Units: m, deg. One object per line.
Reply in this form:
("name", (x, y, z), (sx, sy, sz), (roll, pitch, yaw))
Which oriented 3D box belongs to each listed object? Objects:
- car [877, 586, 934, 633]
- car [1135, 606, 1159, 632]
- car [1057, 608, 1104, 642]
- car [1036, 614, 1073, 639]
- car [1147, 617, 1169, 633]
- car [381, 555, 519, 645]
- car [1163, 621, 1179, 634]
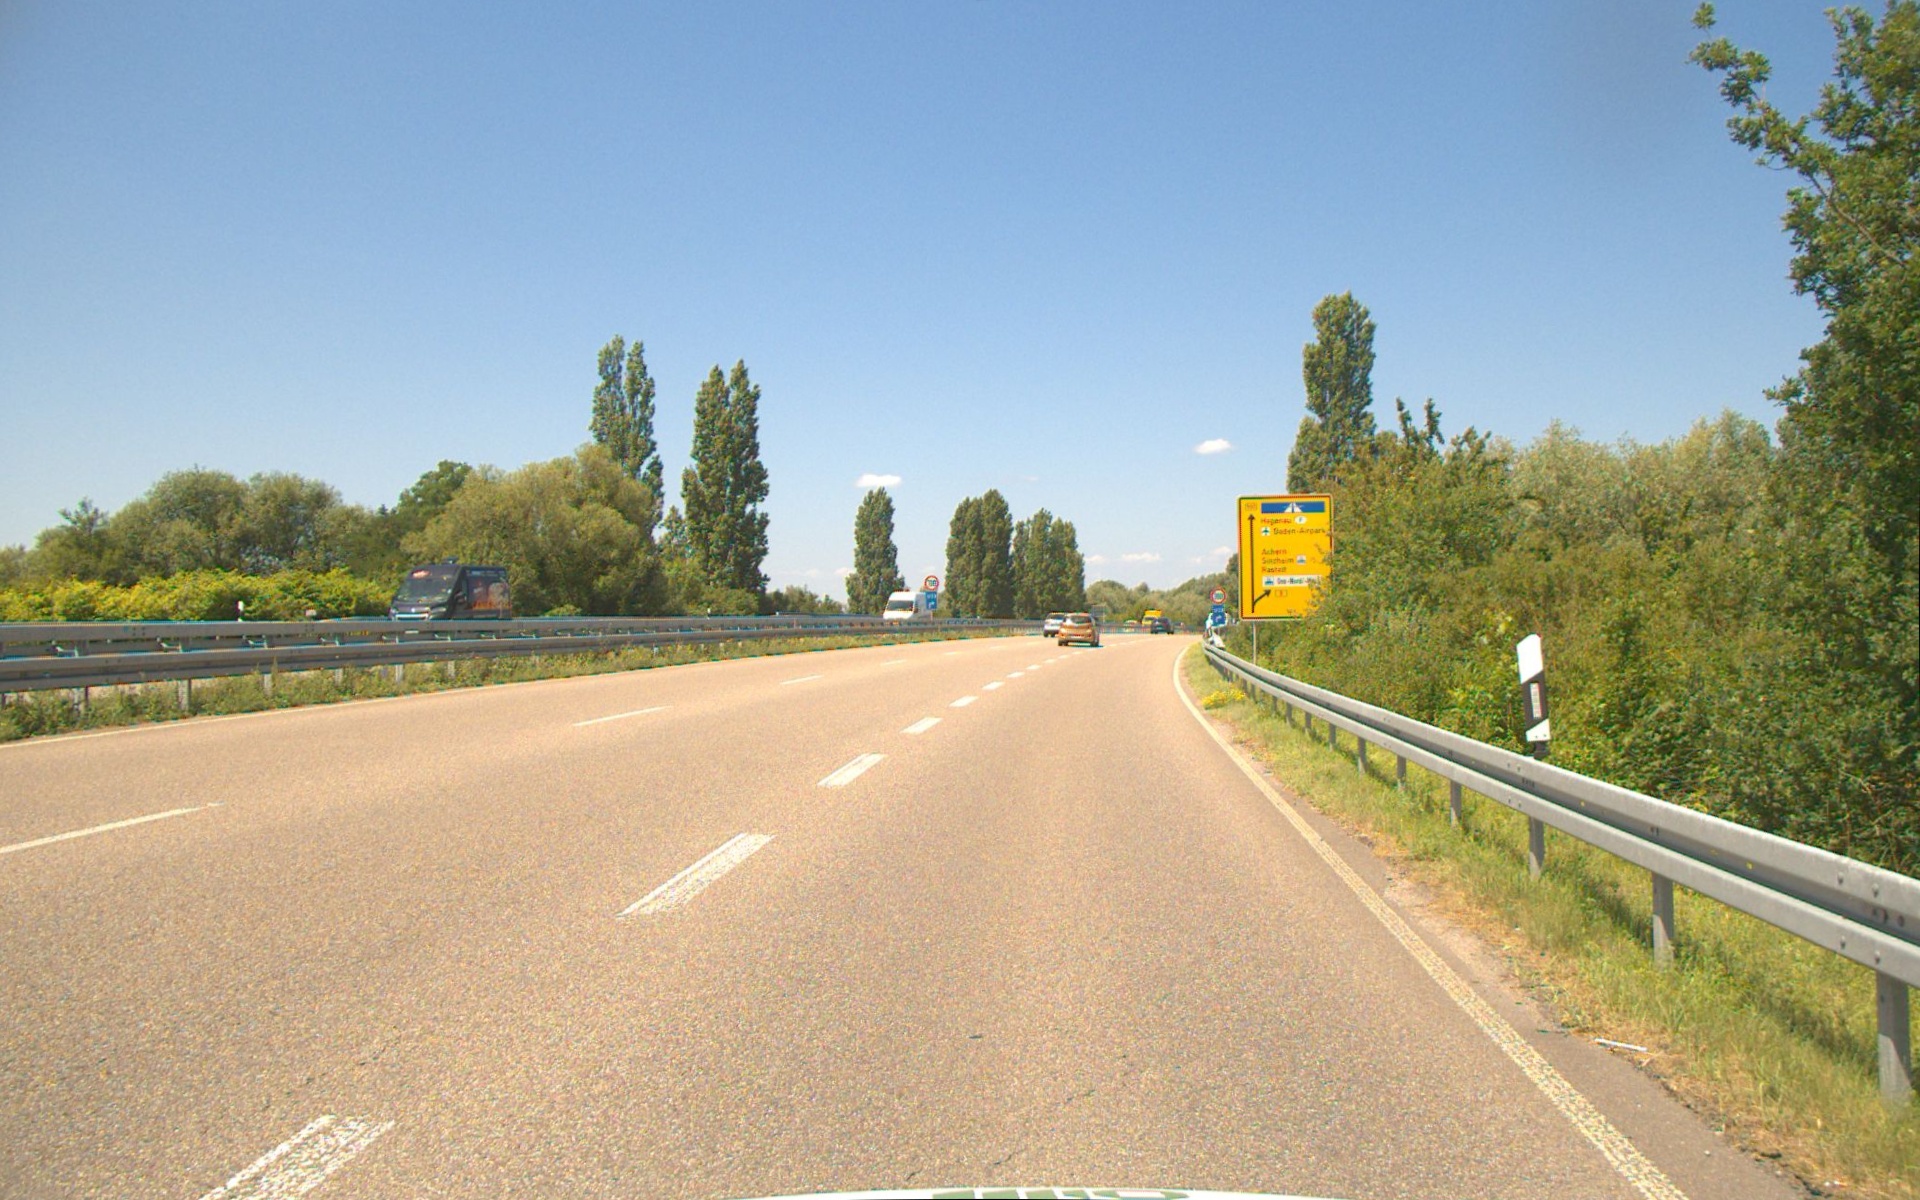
("car", (-3.445, 0.651, 106.319), (2.230, 2.822, 7.227), (0, -2, 9))
("car", (24.536, 2.466, 216.921), (2.256, 3.350, 7.033), (0, -1, 13))
("car", (5.516, 1.126, 75.252), (1.802, 1.489, 4.003), (2, 0, 9))
("car", (5.877, 1.609, 102.269), (1.802, 1.476, 4.003), (2, 0, 10))
("car", (19.152, 2.421, 159.503), (1.902, 1.489, 4.003), (2, 0, 9))
("car", (-16.105, 0.071, 52.634), (2.157, 2.684, 5.628), (0, -2, 5))
("car", (30.071, 3.924, 235.385), (1.813, 1.850, 4.798), (0, -2, 14))
